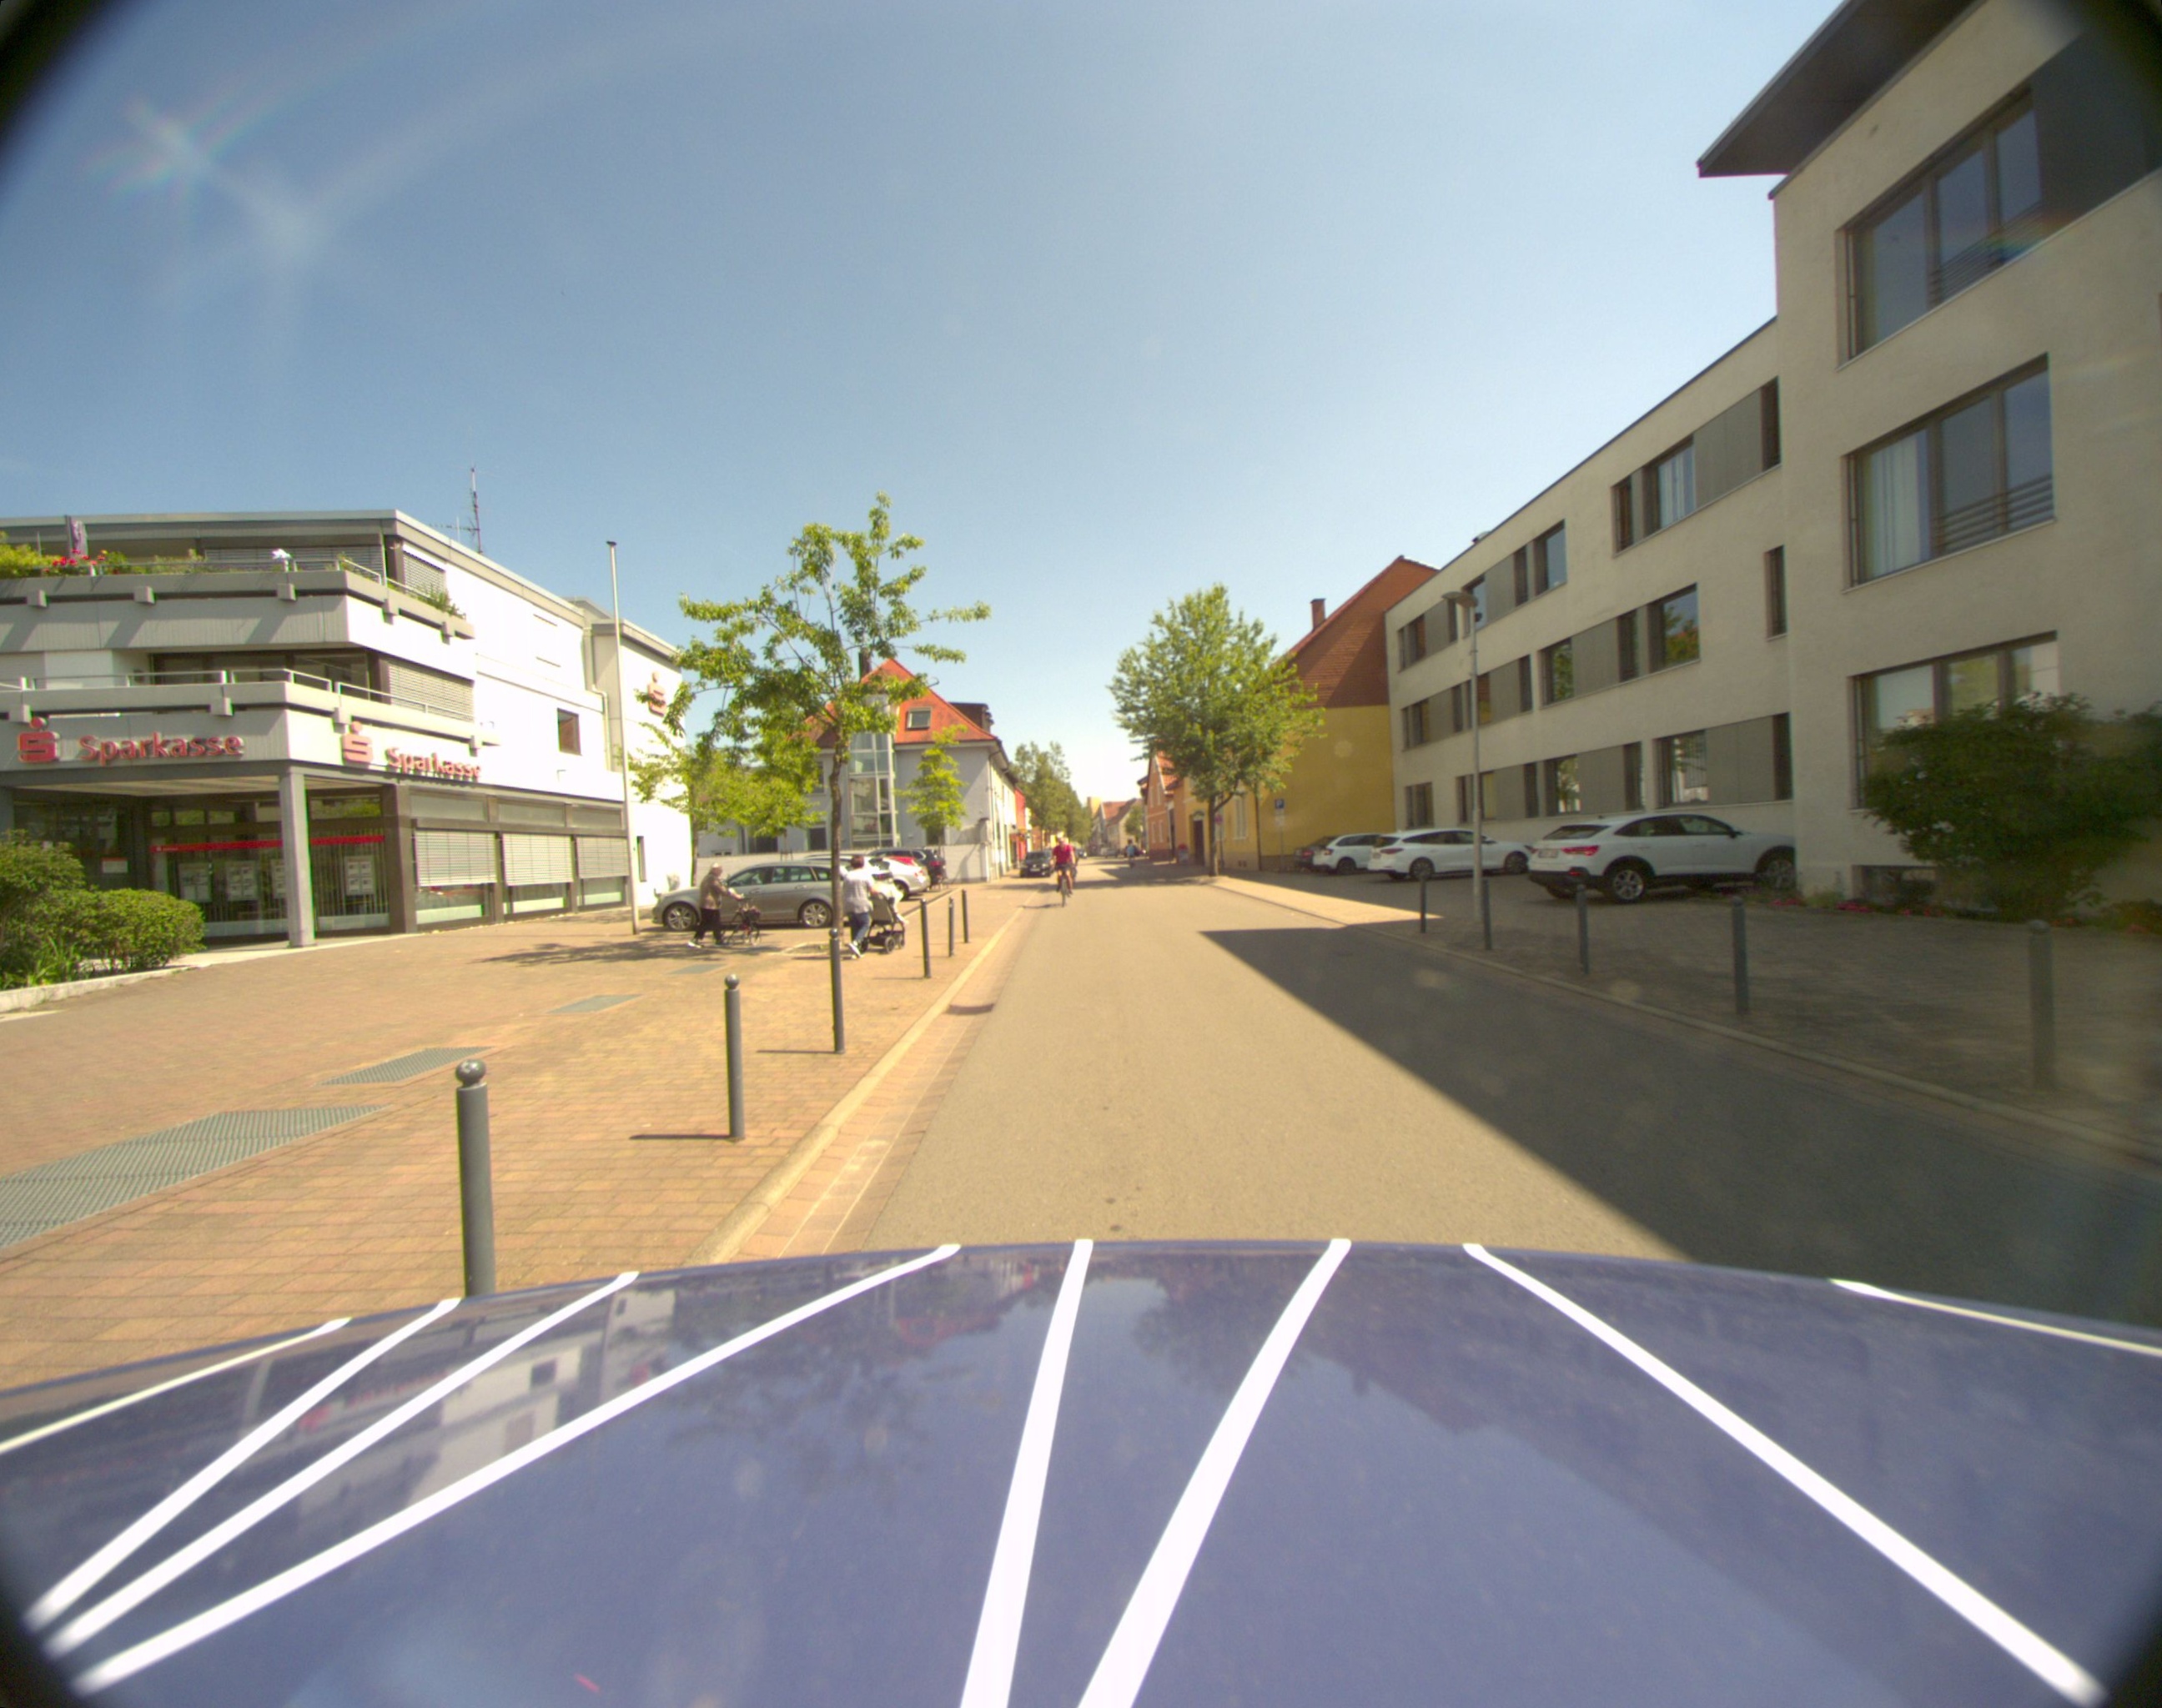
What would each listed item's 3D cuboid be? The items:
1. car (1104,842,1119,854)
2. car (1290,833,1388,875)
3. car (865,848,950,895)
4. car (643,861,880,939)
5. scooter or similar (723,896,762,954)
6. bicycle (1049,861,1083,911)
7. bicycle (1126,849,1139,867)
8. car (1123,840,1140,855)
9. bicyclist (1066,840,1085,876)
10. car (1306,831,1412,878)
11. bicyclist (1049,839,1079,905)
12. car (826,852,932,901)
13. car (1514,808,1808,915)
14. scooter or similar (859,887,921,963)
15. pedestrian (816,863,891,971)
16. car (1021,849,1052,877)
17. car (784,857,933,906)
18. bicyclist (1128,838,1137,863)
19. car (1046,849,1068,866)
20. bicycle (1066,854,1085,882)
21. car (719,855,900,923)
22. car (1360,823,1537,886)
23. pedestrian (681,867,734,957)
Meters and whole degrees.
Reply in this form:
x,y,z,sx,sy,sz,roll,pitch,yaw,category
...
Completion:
x,y,z,sx,sy,sz,roll,pitch,yaw,category
4.596,-0.926,114.120,1.999,1.696,3.999,-2,1,-1,car
9.962,-0.004,29.478,3.258,1.393,1.374,-4,1,-2,car
-6.707,0.648,29.542,3.041,1.727,1.344,-1,1,-5,car
-6.862,0.955,16.718,4.446,1.457,1.689,-1,2,-6,car
-6.055,1.257,13.598,0.547,0.940,0.535,-3,1,-30,scooter or similar
-0.422,0.814,20.272,0.738,1.183,1.970,-4,1,-3,bicycle
3.465,0.253,51.133,0.595,1.183,1.724,-3,1,-2,bicycle
6.598,-0.841,99.772,1.826,1.805,3.999,-2,1,-1,car
-0.256,0.182,34.677,0.703,1.573,0.878,-4,2,-3,bicyclist
9.925,0.008,27.268,3.139,1.442,1.642,-4,1,1,car
-0.463,0.468,20.375,0.703,1.707,0.759,-4,2,-3,bicyclist
-7.221,0.786,27.401,3.431,1.543,1.490,-2,1,-5,car
10.391,0.117,13.812,3.997,1.539,1.748,-4,1,-2,car
-3.062,1.117,12.231,0.505,1.112,0.910,-1,1,20,scooter or similar
-3.383,0.910,11.355,0.512,1.507,1.050,-1,1,20,pedestrian
-2.515,0.484,42.525,1.530,1.444,3.519,-2,1,-5,car
-7.171,0.870,24.866,4.446,1.434,1.655,-1,1,-8,car
3.463,-0.250,51.129,0.538,1.630,0.551,-2,1,-2,bicyclist
-1.973,0.236,61.910,1.530,1.298,3.248,-1,1,-6,car
-0.247,0.642,34.718,0.690,1.183,1.798,-4,1,-3,bicycle
-6.869,0.844,19.584,4.047,1.550,1.711,-1,1,-6,car
10.596,0.001,22.077,4.324,1.470,1.513,-4,1,0,car
-6.542,0.989,13.306,0.725,1.492,0.530,-3,1,-32,pedestrian
